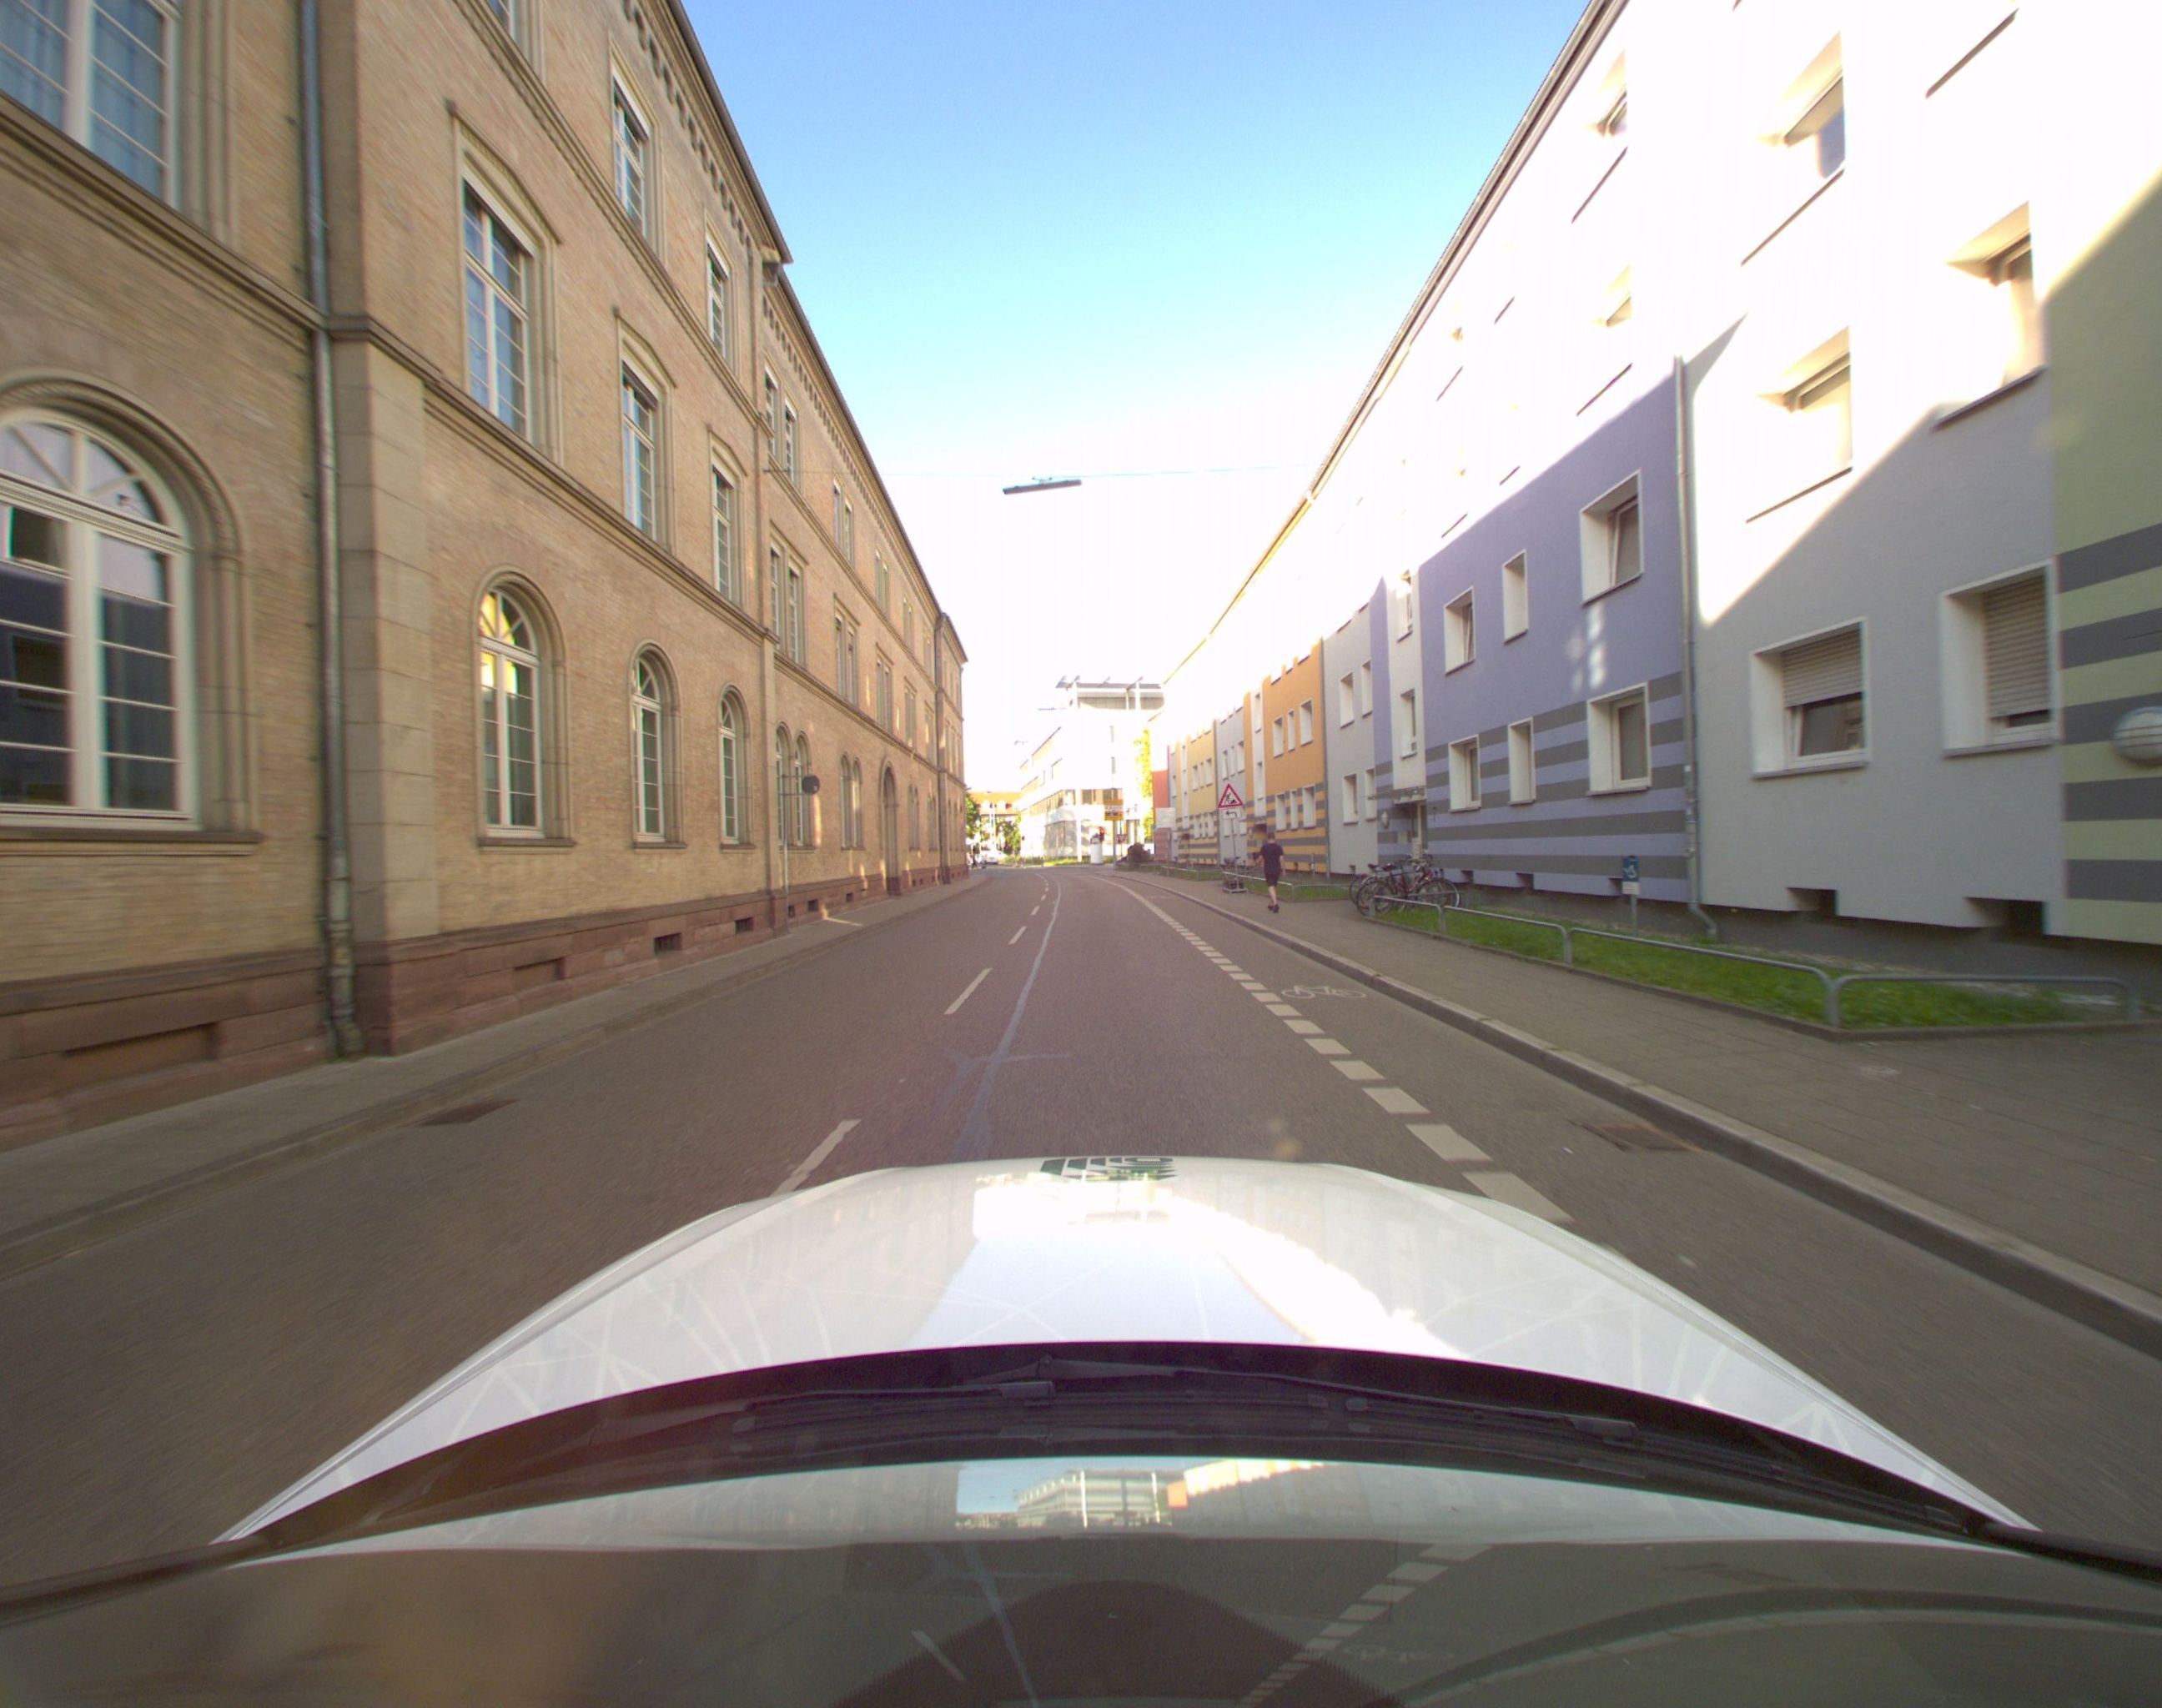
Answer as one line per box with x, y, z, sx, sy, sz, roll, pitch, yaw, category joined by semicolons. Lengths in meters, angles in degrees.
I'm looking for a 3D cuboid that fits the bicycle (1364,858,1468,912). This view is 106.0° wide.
6.399;0.585;15.602;1.743;0.946;0.552;-3;0;-1;bicycle

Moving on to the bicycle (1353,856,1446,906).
6.554;0.556;16.778;1.742;0.946;0.326;-3;-1;0;bicycle

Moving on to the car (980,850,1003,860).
-16.714;0.211;151.776;4.004;1.915;1.905;0;-1;-23;car

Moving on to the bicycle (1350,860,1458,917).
5.917;0.625;14.974;1.743;0.946;0.552;-3;0;-1;bicycle

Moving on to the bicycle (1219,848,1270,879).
6.340;0.370;31.622;1.805;1.137;0.551;-2;-1;-2;bicycle

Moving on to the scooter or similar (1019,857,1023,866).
-6.969;0.846;94.890;0.325;1.059;1.138;-2;0;-12;scooter or similar

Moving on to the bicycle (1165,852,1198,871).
5.658;0.427;45.877;1.751;1.004;0.612;-3;0;-5;bicycle

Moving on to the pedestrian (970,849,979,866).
-11.245;0.405;85.998;0.928;1.759;0.844;0;-1;-13;pedestrian

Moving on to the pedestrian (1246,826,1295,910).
4.187;0.291;18.022;0.694;1.760;1.189;-4;0;0;pedestrian

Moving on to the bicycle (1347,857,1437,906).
6.551;0.575;17.170;1.743;0.946;0.335;-3;-1;-1;bicycle

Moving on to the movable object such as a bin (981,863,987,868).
-10.249;1.257;86.240;0.590;0.480;0.284;-2;0;-16;movable object such as a bin

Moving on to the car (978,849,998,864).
-13.071;0.397;114.193;2.426;2.112;5.209;0;-1;-12;car
